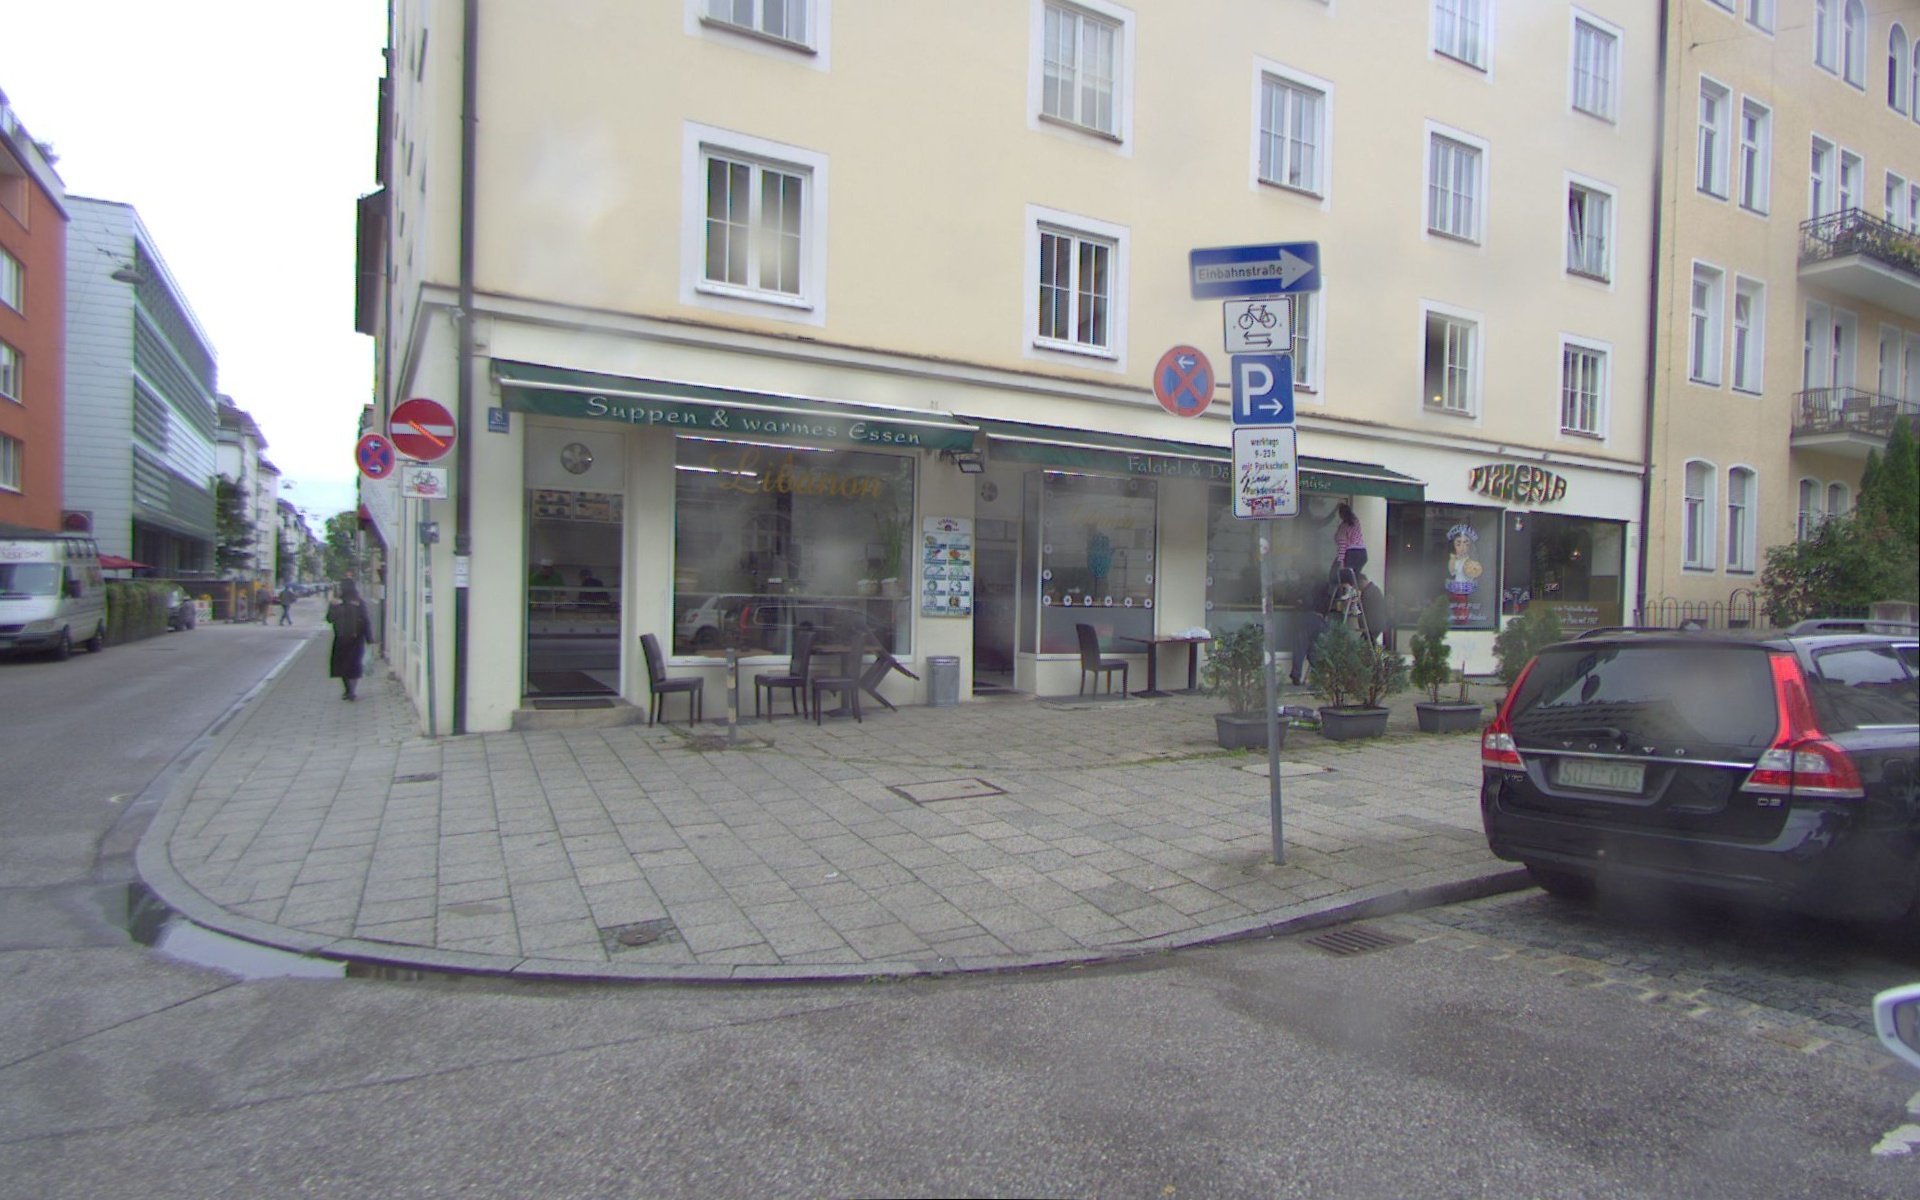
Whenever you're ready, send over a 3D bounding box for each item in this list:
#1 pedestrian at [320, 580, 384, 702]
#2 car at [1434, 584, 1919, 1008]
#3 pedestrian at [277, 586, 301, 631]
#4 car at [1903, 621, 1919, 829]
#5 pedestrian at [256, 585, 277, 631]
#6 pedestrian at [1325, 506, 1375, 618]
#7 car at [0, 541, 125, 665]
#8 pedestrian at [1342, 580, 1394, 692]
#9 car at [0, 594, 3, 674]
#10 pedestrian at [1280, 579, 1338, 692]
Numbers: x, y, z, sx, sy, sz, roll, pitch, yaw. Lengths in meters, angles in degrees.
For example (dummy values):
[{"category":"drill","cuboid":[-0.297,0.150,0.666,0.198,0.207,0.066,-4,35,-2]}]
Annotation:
[{"category":"pedestrian","cuboid":[-8.157,0.535,13.491,0.631,1.582,0.605,1,1,-24]},{"category":"car","cuboid":[5.062,0.778,5.778,4.691,1.607,1.843,1,0,-30]},{"category":"pedestrian","cuboid":[-30.699,0.390,45.965,0.864,2.040,0.878,1,1,-36]},{"category":"car","cuboid":[9.526,0.963,7.882,4.483,1.556,1.767,1,-2,-28]},{"category":"pedestrian","cuboid":[-31.379,0.376,45.445,0.712,2.040,0.878,1,1,-36]},{"category":"pedestrian","cuboid":[5.947,-0.574,15.327,0.490,1.664,0.476,1,1,-23]},{"category":"car","cuboid":[-20.305,0.003,22.215,1.943,2.420,6.427,1,0,-32]},{"category":"pedestrian","cuboid":[6.387,0.560,15.727,0.567,1.713,0.460,1,1,-27]},{"category":"car","cuboid":[-16.759,0.585,15.973,1.474,1.426,3.659,1,-1,-32]},{"category":"pedestrian","cuboid":[5.293,0.530,15.235,0.622,1.664,0.520,1,1,-28]}]
